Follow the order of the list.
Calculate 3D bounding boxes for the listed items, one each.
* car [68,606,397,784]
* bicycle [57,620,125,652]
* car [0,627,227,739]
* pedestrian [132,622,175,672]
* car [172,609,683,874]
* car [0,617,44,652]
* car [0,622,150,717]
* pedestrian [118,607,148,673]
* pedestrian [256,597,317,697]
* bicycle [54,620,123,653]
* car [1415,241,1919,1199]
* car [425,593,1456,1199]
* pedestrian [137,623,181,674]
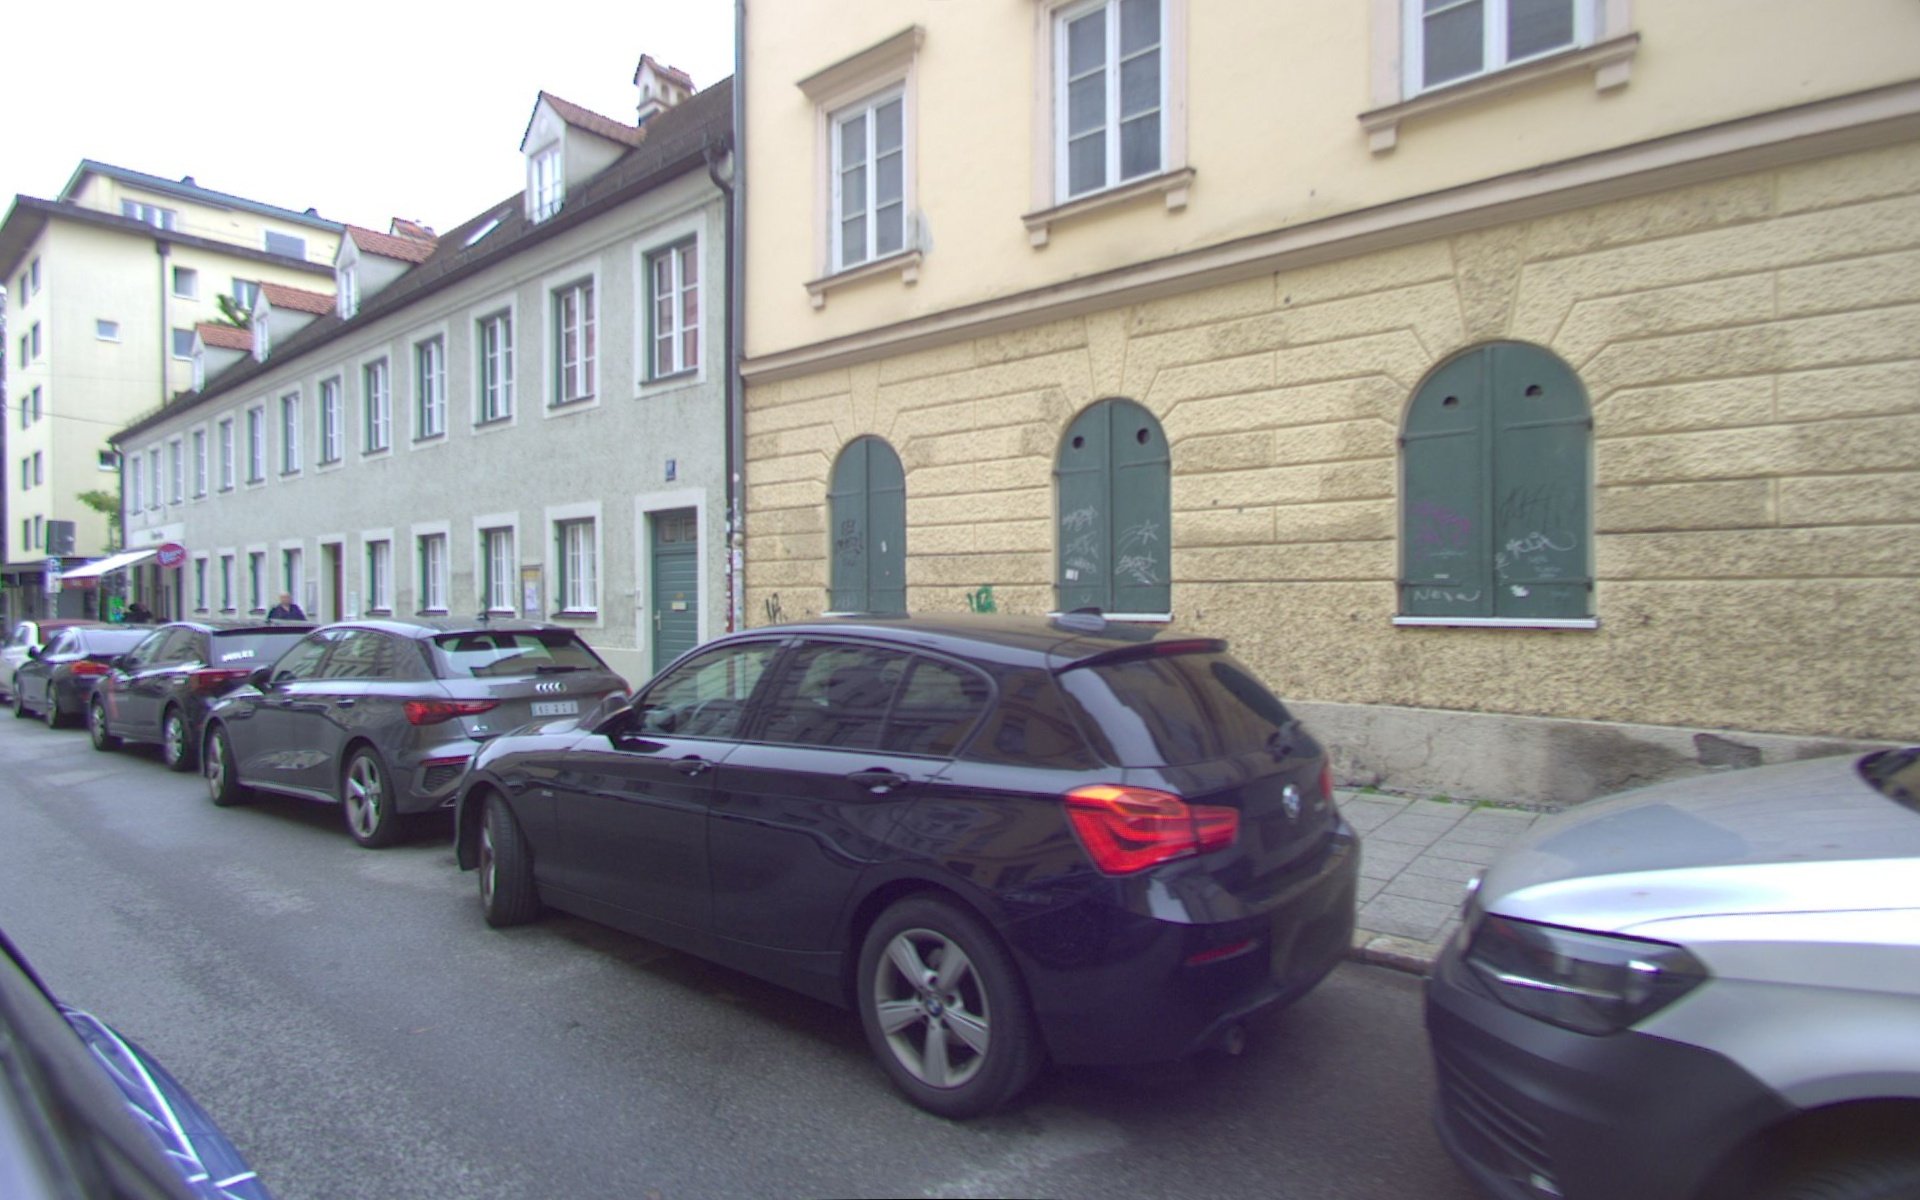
[{"bbox_3d":[-7.832,0.852,10.756,4.194,1.507,1.738,-1,0,38],"label":"car"},{"bbox_3d":[-31.395,1.295,36.587,0.392,1.042,1.798,-3,1,43],"label":"bicycle"},{"bbox_3d":[-12.596,1.119,14.924,4.681,1.349,1.780,-2,0,40],"label":"car"},{"bbox_3d":[-21.595,1.243,27.092,0.693,1.299,0.795,0,0,40],"label":"pedestrian"},{"bbox_3d":[-4.093,0.829,7.533,4.124,1.452,1.799,-2,-2,37],"label":"car"},{"bbox_3d":[-57.971,2.062,60.531,1.925,2.016,4.382,0,0,25],"label":"car"},{"bbox_3d":[-16.310,1.173,18.315,3.708,1.486,1.738,-1,0,38],"label":"car"},{"bbox_3d":[-23.123,1.097,28.299,0.877,1.795,0.523,0,0,41],"label":"pedestrian"},{"bbox_3d":[-13.328,0.897,20.030,0.827,1.912,0.814,0,0,39],"label":"pedestrian"},{"bbox_3d":[-31.039,1.293,36.048,0.392,1.042,1.798,-3,1,43],"label":"bicycle"},{"bbox_3d":[3.211,0.457,1.186,4.617,2.010,1.739,-1,0,37],"label":"car"},{"bbox_3d":[-0.399,0.722,4.168,4.099,1.419,1.737,-1,0,39],"label":"car"},{"bbox_3d":[-21.054,1.262,26.611,0.693,1.300,0.795,0,0,40],"label":"pedestrian"}]
